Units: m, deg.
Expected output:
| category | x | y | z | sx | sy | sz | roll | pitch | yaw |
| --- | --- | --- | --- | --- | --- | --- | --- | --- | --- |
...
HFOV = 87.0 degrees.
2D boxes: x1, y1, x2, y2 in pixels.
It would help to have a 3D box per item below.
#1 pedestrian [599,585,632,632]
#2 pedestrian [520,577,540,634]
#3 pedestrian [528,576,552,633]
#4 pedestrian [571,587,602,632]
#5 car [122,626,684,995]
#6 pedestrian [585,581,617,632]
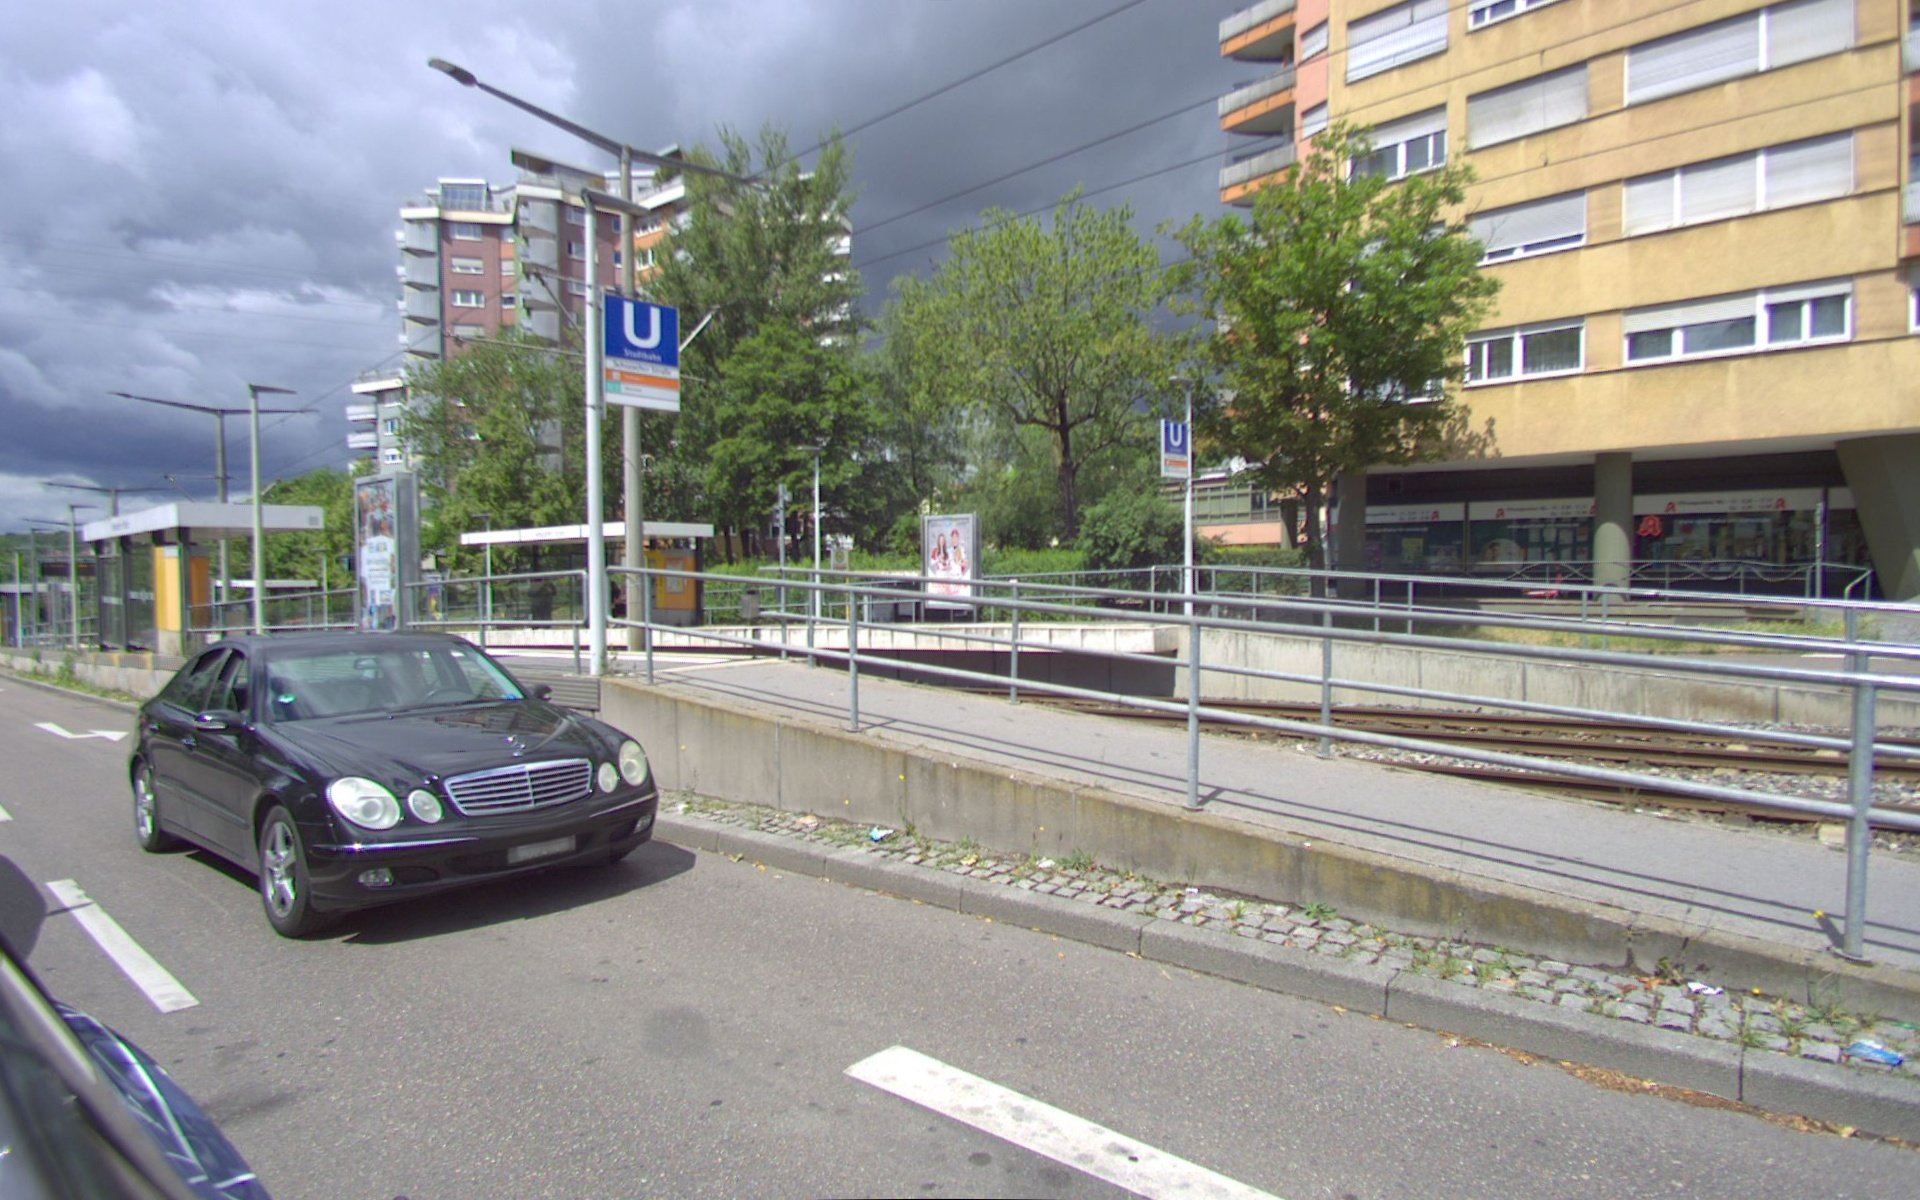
| category | x | y | z | sx | sy | sz | roll | pitch | yaw |
| --- | --- | --- | --- | --- | --- | --- | --- | --- | --- |
| pedestrian | -9.559 | 0.226 | 28.107 | 0.463 | 1.287 | 0.703 | -2 | -1 | 41 |
| pedestrian | -13.279 | 0.169 | 31.255 | 0.421 | 1.726 | 0.353 | -1 | -1 | 0 |
| pedestrian | -12.987 | 0.140 | 31.274 | 0.544 | 1.726 | 0.386 | -1 | -1 | 0 |
| pedestrian | -10.876 | 0.275 | 29.482 | 0.463 | 1.287 | 0.703 | -2 | -1 | 41 |
| car | -3.545 | 0.898 | 6.057 | 4.066 | 1.395 | 1.797 | -2 | -1 | 44 |
| pedestrian | -10.174 | 0.178 | 28.671 | 0.463 | 1.428 | 0.703 | -2 | -1 | 41 |
